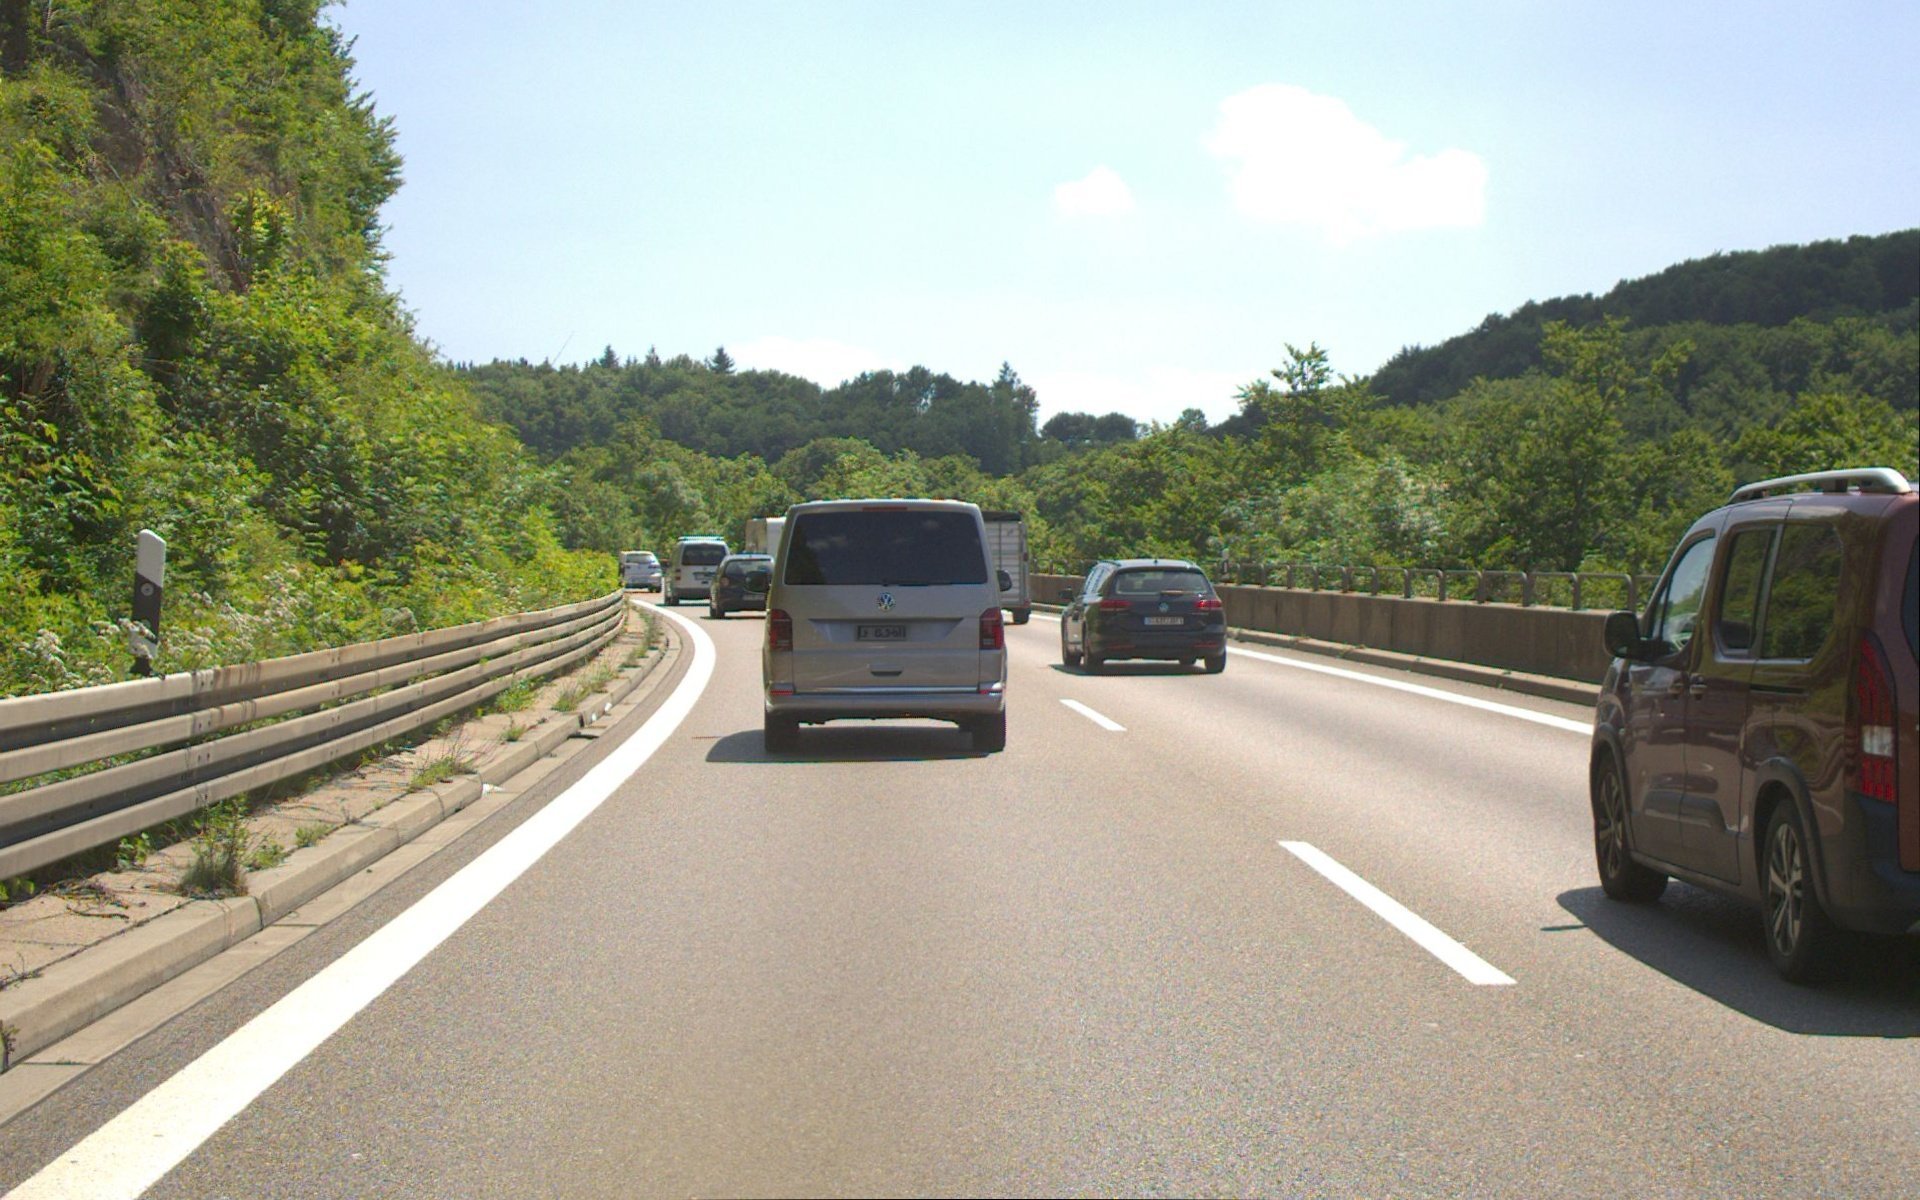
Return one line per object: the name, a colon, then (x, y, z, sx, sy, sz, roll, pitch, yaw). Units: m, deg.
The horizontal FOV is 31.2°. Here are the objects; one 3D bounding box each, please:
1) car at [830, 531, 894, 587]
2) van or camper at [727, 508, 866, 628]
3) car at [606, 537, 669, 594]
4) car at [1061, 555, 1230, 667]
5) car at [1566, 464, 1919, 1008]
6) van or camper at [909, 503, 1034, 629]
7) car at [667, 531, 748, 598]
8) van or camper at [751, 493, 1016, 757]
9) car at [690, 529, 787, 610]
car: (-3.607, -1.513, 125.885, 1.993, 2.007, 4.001, 0, 1, -7)
van or camper: (-5.437, -1.084, 112.899, 3.275, 3.776, 8.114, 0, 1, -12)
car: (-11.196, -1.213, 119.073, 1.993, 1.908, 4.001, 0, 1, -8)
car: (2.369, 0.112, 44.666, 1.768, 1.371, 3.593, 0, 1, -4)
car: (3.724, 0.430, 13.586, 1.833, 1.778, 4.676, 0, 0, 0)
van or camper: (0.197, -0.719, 72.995, 2.263, 2.542, 4.737, -1, 1, -4)
car: (-6.986, -0.994, 95.446, 1.993, 1.811, 4.000, 0, 1, -1)
van or camper: (-0.699, 0.159, 27.728, 1.875, 1.943, 4.294, 0, 1, -5)
car: (-5.144, -0.714, 79.360, 1.993, 1.811, 4.001, 0, 1, -7)
